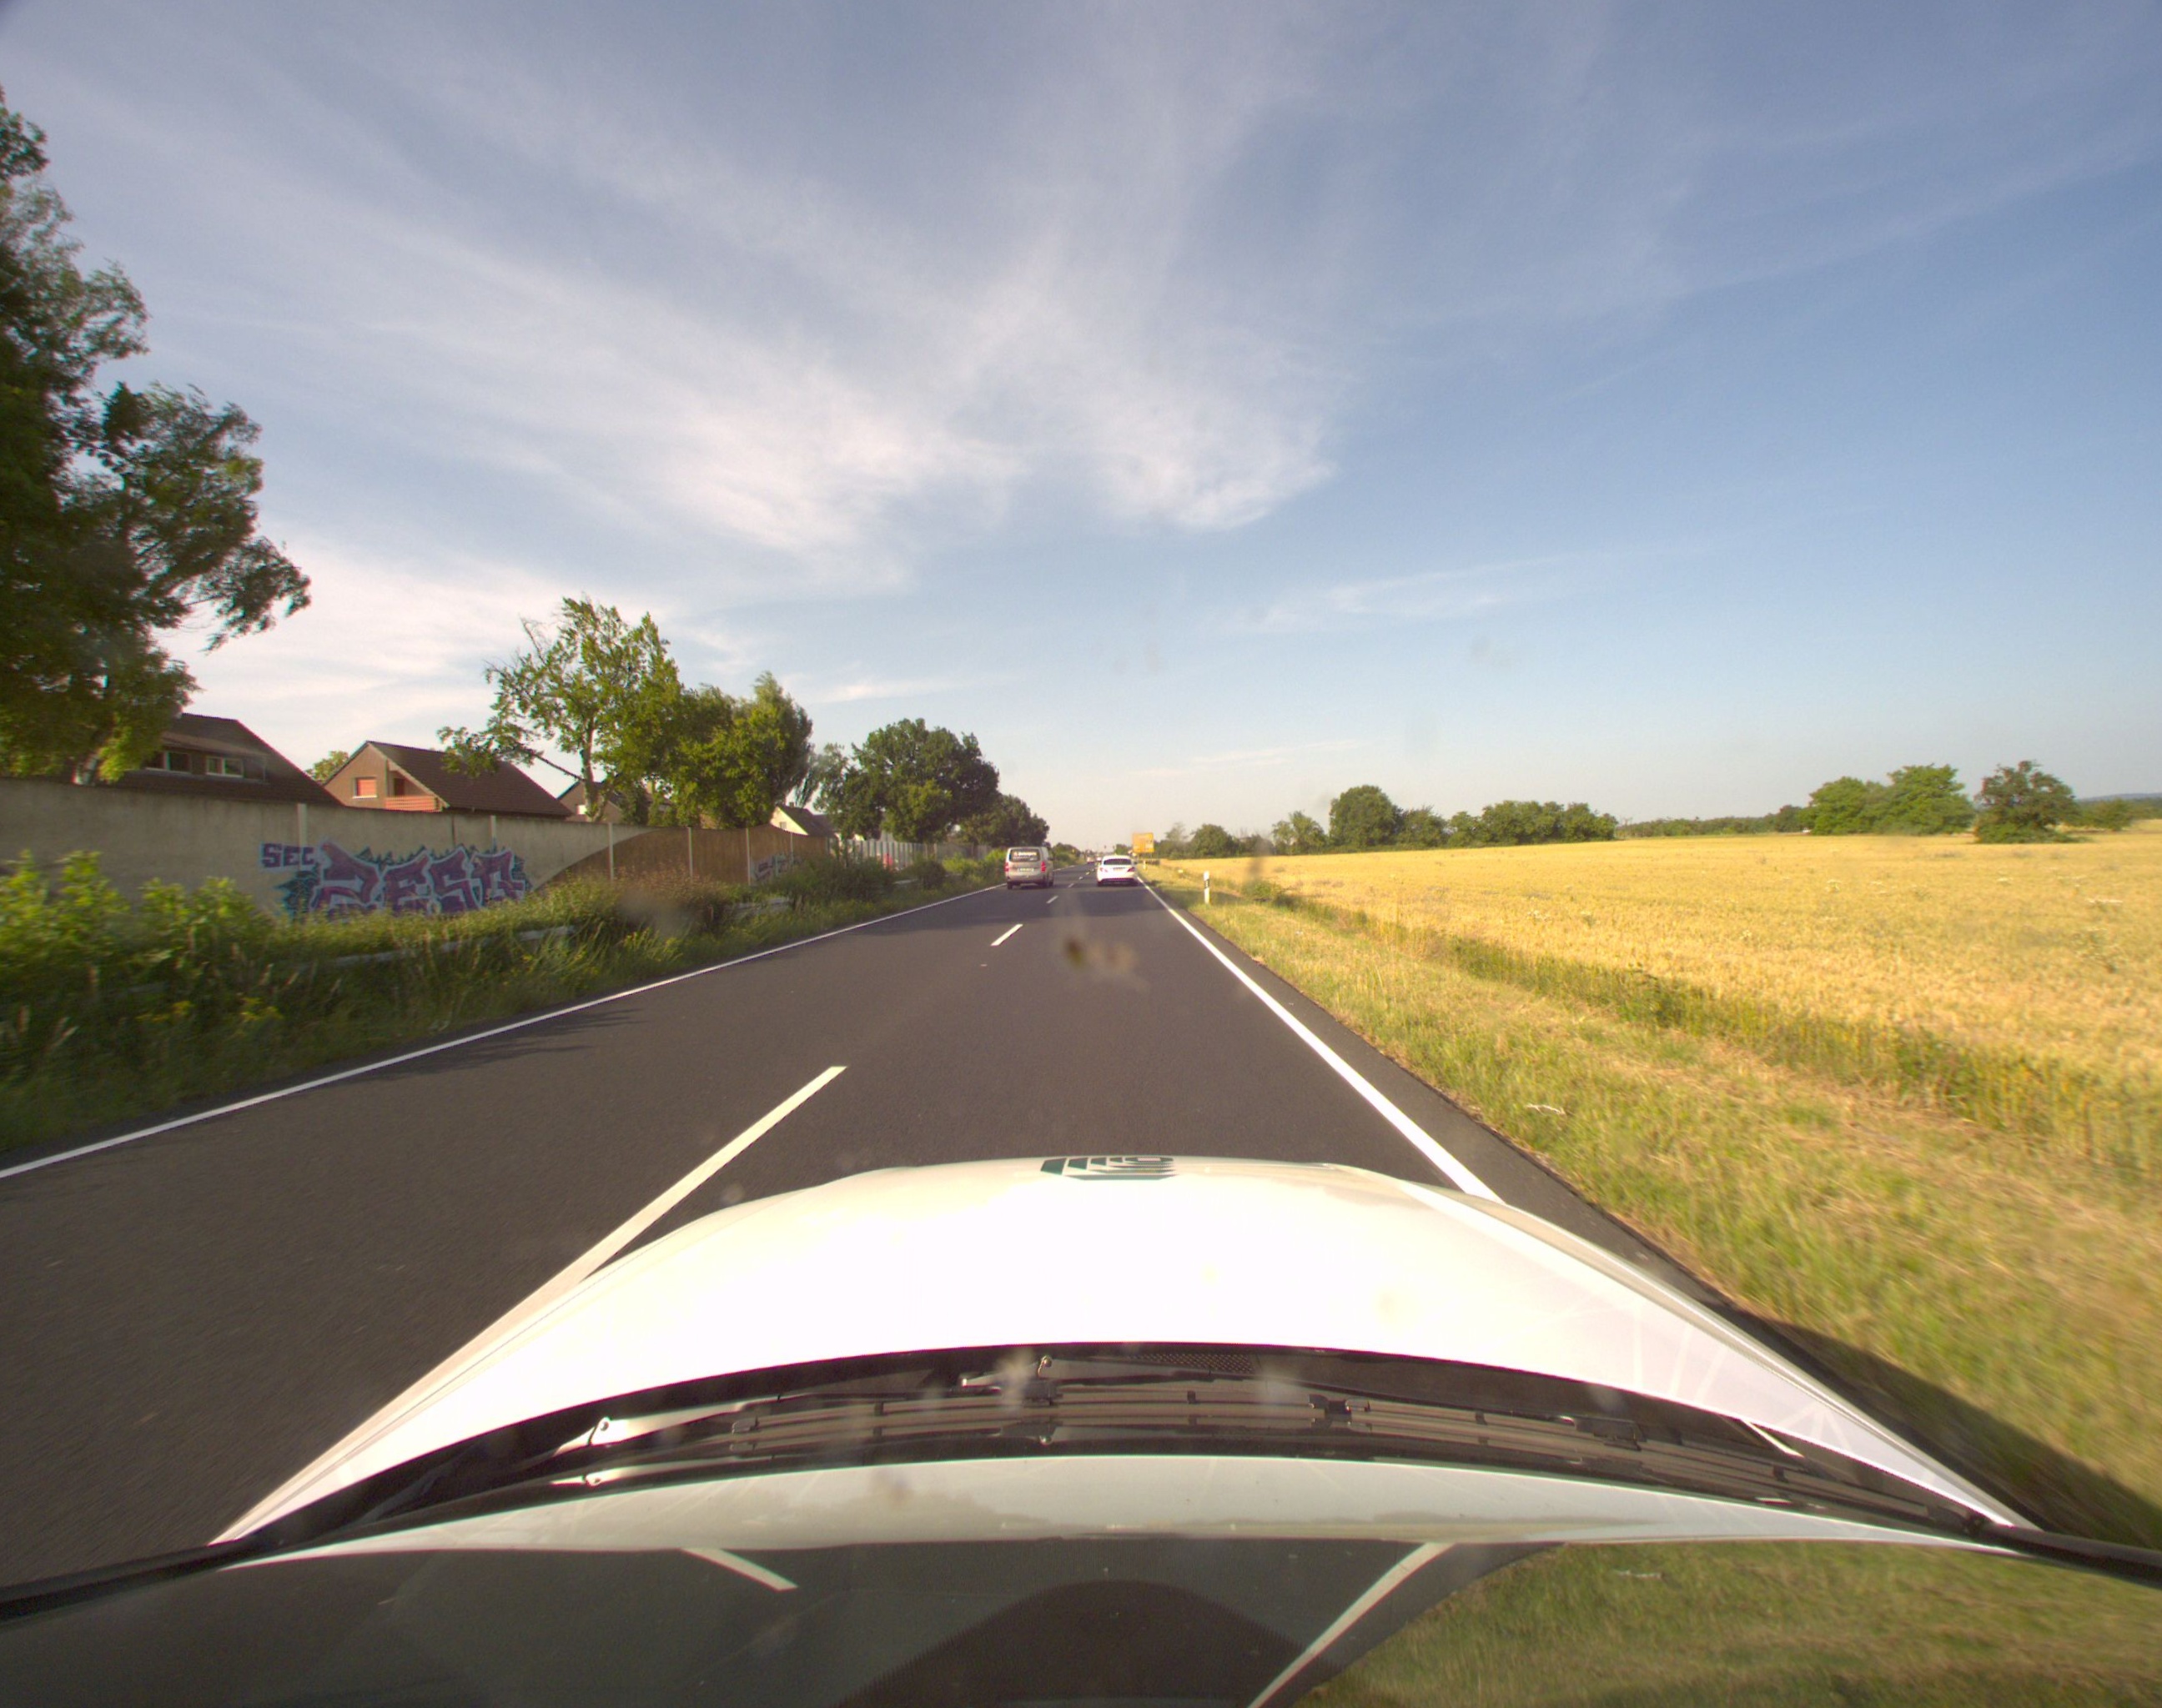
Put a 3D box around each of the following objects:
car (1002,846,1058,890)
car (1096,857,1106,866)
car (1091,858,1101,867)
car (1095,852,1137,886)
[{"bbox_3d":[-2.310,0.621,37.967,2.017,1.892,4.962,0,0,3],"label":"car"},{"bbox_3d":[4.141,1.555,169.306,1.871,1.651,3.664,0,-1,1],"label":"car"},{"bbox_3d":[2.664,1.454,141.725,1.710,1.492,3.587,0,-1,3],"label":"car"},{"bbox_3d":[1.646,0.705,38.776,1.887,1.509,4.002,-1,-1,2],"label":"car"}]
